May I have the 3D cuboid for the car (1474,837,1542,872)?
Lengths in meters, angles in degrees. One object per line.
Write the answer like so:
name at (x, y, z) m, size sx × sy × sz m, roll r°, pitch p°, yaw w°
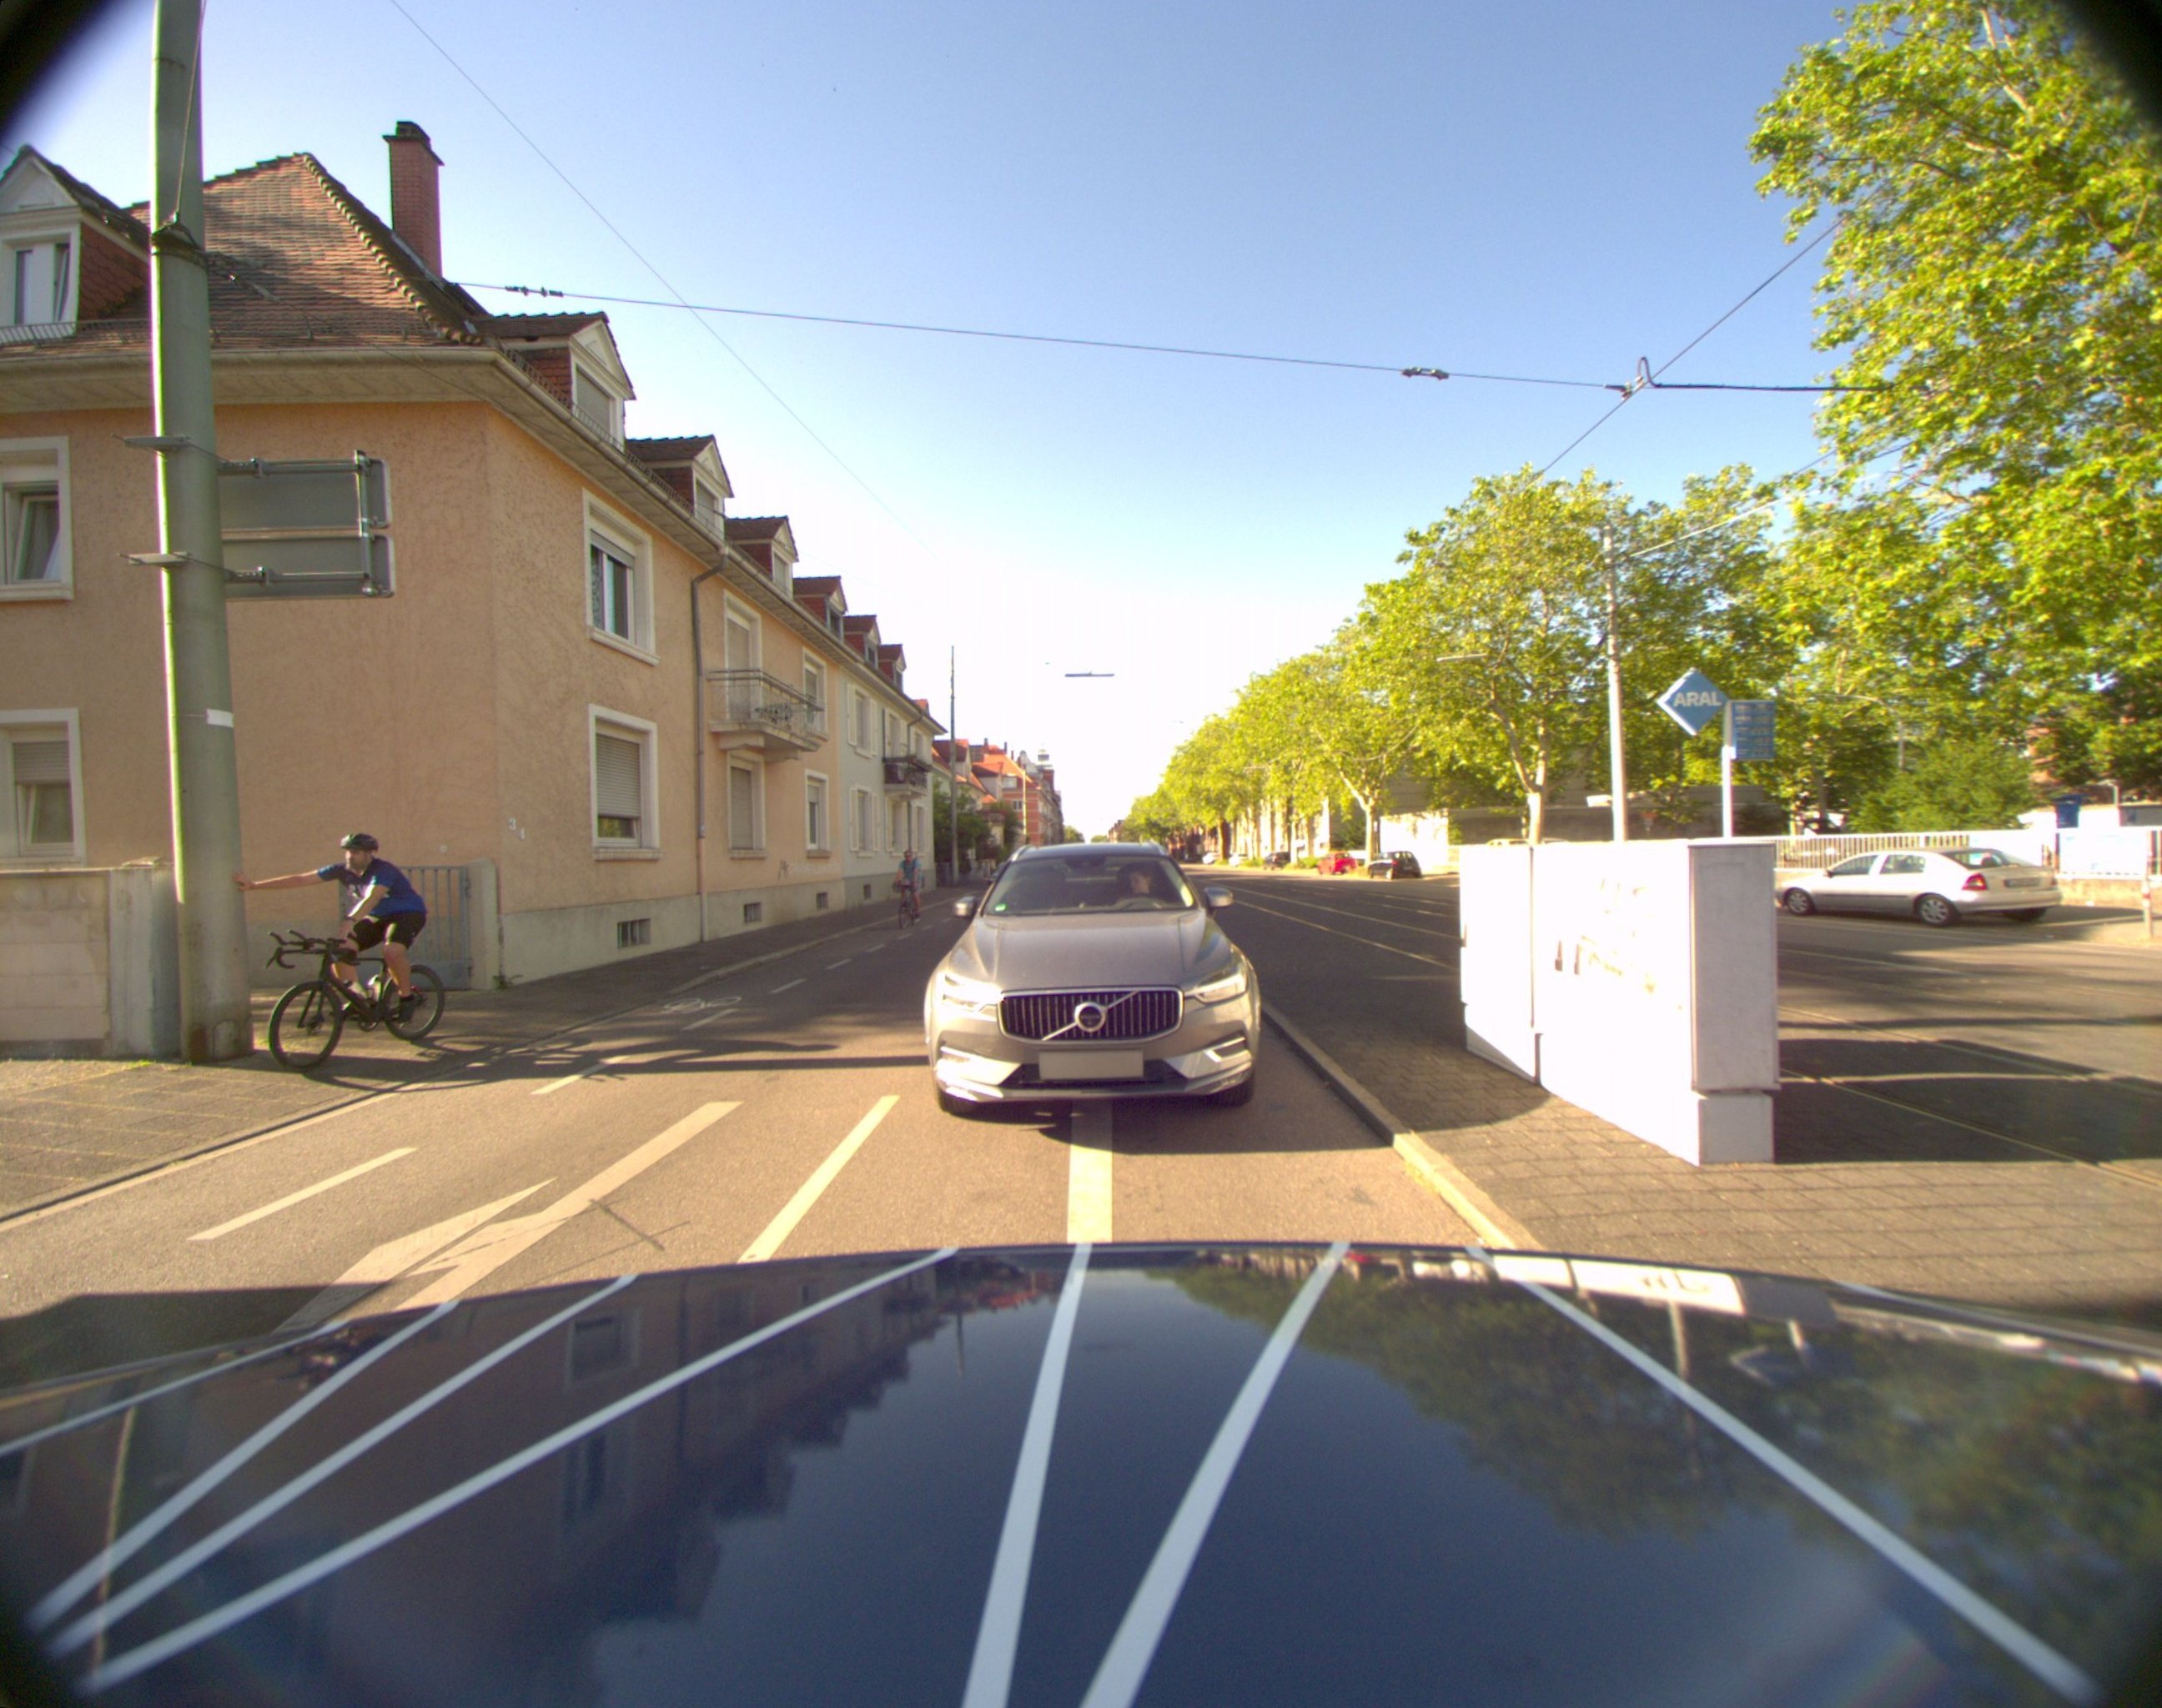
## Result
car at (21.557, 0.016, 38.475) m, size 1.599 × 1.606 × 3.304 m, roll -2°, pitch 0°, yaw 1°

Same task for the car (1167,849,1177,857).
car at (19.285, -0.192, 161.879) m, size 1.695 × 1.440 × 3.749 m, roll -3°, pitch 0°, yaw 1°

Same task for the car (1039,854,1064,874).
car at (-2.540, 0.861, 67.078) m, size 1.793 × 1.673 × 3.814 m, roll -3°, pitch 0°, yaw 2°

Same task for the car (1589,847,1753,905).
car at (16.421, 0.562, 21.419) m, size 1.695 × 1.395 × 3.749 m, roll -3°, pitch 0°, yaw 1°

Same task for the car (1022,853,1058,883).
car at (-2.574, 0.856, 48.488) m, size 1.793 × 1.673 × 3.814 m, roll -3°, pitch 0°, yaw 2°

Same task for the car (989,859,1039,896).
car at (-3.213, 1.086, 37.050) m, size 1.695 × 1.571 × 3.815 m, roll -3°, pitch 0°, yaw 5°

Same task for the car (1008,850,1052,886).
car at (-2.814, 0.743, 42.823) m, size 1.793 × 1.828 × 5.149 m, roll -3°, pitch 0°, yaw 2°

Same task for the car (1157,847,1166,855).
car at (20.259, -0.726, 191.416) m, size 1.695 × 1.775 × 3.749 m, roll -3°, pitch 0°, yaw 1°

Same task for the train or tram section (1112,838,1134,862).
train or tram section at (6.547, -0.660, 120.594) m, size 2.717 × 3.643 × 12.653 m, roll -1°, pitch 0°, yaw 0°

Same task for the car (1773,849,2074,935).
car at (16.235, 0.642, 14.984) m, size 1.695 × 1.395 × 3.813 m, roll -3°, pitch 0°, yaw 1°

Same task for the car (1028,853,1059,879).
car at (-2.621, 0.837, 54.008) m, size 1.793 × 1.673 × 3.814 m, roll -3°, pitch 0°, yaw 2°

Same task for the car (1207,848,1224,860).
car at (17.806, 0.028, 100.716) m, size 1.695 × 1.440 × 3.749 m, roll -3°, pitch 0°, yaw 1°

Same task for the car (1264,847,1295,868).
car at (17.149, 0.276, 65.891) m, size 1.695 × 1.648 × 3.749 m, roll -3°, pitch 0°, yaw 1°

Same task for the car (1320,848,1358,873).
car at (16.888, 0.437, 49.869) m, size 1.599 × 1.498 × 2.622 m, roll -3°, pitch 0°, yaw 1°

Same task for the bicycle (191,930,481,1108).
bicycle at (-6.011, 1.263, 6.304) m, size 0.592 × 1.062 × 1.775 m, roll 4°, pitch 0°, yaw 1°

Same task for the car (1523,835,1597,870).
car at (23.890, -0.079, 38.027) m, size 1.599 × 1.583 × 3.304 m, roll -2°, pitch 0°, yaw 1°

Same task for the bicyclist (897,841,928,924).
bicyclist at (-4.012, 0.678, 18.100) m, size 0.519 × 1.922 × 0.946 m, roll -1°, pitch -2°, yaw -1°

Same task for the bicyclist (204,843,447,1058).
bicyclist at (-6.215, 0.747, 6.321) m, size 1.051 × 1.599 × 0.885 m, roll 4°, pitch 0°, yaw 1°

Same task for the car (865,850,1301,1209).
car at (0.039, 0.829, 5.756) m, size 1.998 × 1.628 × 4.306 m, roll -2°, pitch 0°, yaw 1°

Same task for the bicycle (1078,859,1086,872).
bicycle at (0.070, 1.023, 67.990) m, size 0.685 × 1.098 × 1.806 m, roll -2°, pitch 1°, yaw 1°

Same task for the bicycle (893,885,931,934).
bicycle at (-3.998, 1.294, 18.060) m, size 0.519 × 1.084 × 1.796 m, roll -1°, pitch -2°, yaw -1°

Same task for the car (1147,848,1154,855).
car at (19.676, -0.621, 214.810) m, size 1.695 × 1.775 × 3.749 m, roll -3°, pitch 0°, yaw 1°

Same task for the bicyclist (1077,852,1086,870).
bicyclist at (0.054, 0.640, 67.993) m, size 0.685 × 1.611 × 0.855 m, roll -2°, pitch 1°, yaw 1°

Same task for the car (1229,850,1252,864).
car at (17.476, 0.294, 83.545) m, size 1.695 × 1.440 × 3.749 m, roll -3°, pitch 0°, yaw 1°

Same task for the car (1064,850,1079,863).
car at (-1.279, 0.367, 107.106) m, size 1.793 × 1.673 × 3.814 m, roll -3°, pitch 0°, yaw 2°

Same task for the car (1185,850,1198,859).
car at (18.214, 0.073, 125.525) m, size 1.695 × 1.440 × 3.749 m, roll -3°, pitch 0°, yaw 1°

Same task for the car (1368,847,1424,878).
car at (16.895, 0.429, 40.898) m, size 1.599 × 1.498 × 3.304 m, roll -3°, pitch 0°, yaw 1°

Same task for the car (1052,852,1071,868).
car at (-2.138, 0.637, 85.372) m, size 1.793 × 1.673 × 3.814 m, roll -3°, pitch 0°, yaw 2°

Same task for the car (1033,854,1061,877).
car at (-2.708, 0.888, 61.033) m, size 1.793 × 1.673 × 3.814 m, roll -3°, pitch 0°, yaw 2°
